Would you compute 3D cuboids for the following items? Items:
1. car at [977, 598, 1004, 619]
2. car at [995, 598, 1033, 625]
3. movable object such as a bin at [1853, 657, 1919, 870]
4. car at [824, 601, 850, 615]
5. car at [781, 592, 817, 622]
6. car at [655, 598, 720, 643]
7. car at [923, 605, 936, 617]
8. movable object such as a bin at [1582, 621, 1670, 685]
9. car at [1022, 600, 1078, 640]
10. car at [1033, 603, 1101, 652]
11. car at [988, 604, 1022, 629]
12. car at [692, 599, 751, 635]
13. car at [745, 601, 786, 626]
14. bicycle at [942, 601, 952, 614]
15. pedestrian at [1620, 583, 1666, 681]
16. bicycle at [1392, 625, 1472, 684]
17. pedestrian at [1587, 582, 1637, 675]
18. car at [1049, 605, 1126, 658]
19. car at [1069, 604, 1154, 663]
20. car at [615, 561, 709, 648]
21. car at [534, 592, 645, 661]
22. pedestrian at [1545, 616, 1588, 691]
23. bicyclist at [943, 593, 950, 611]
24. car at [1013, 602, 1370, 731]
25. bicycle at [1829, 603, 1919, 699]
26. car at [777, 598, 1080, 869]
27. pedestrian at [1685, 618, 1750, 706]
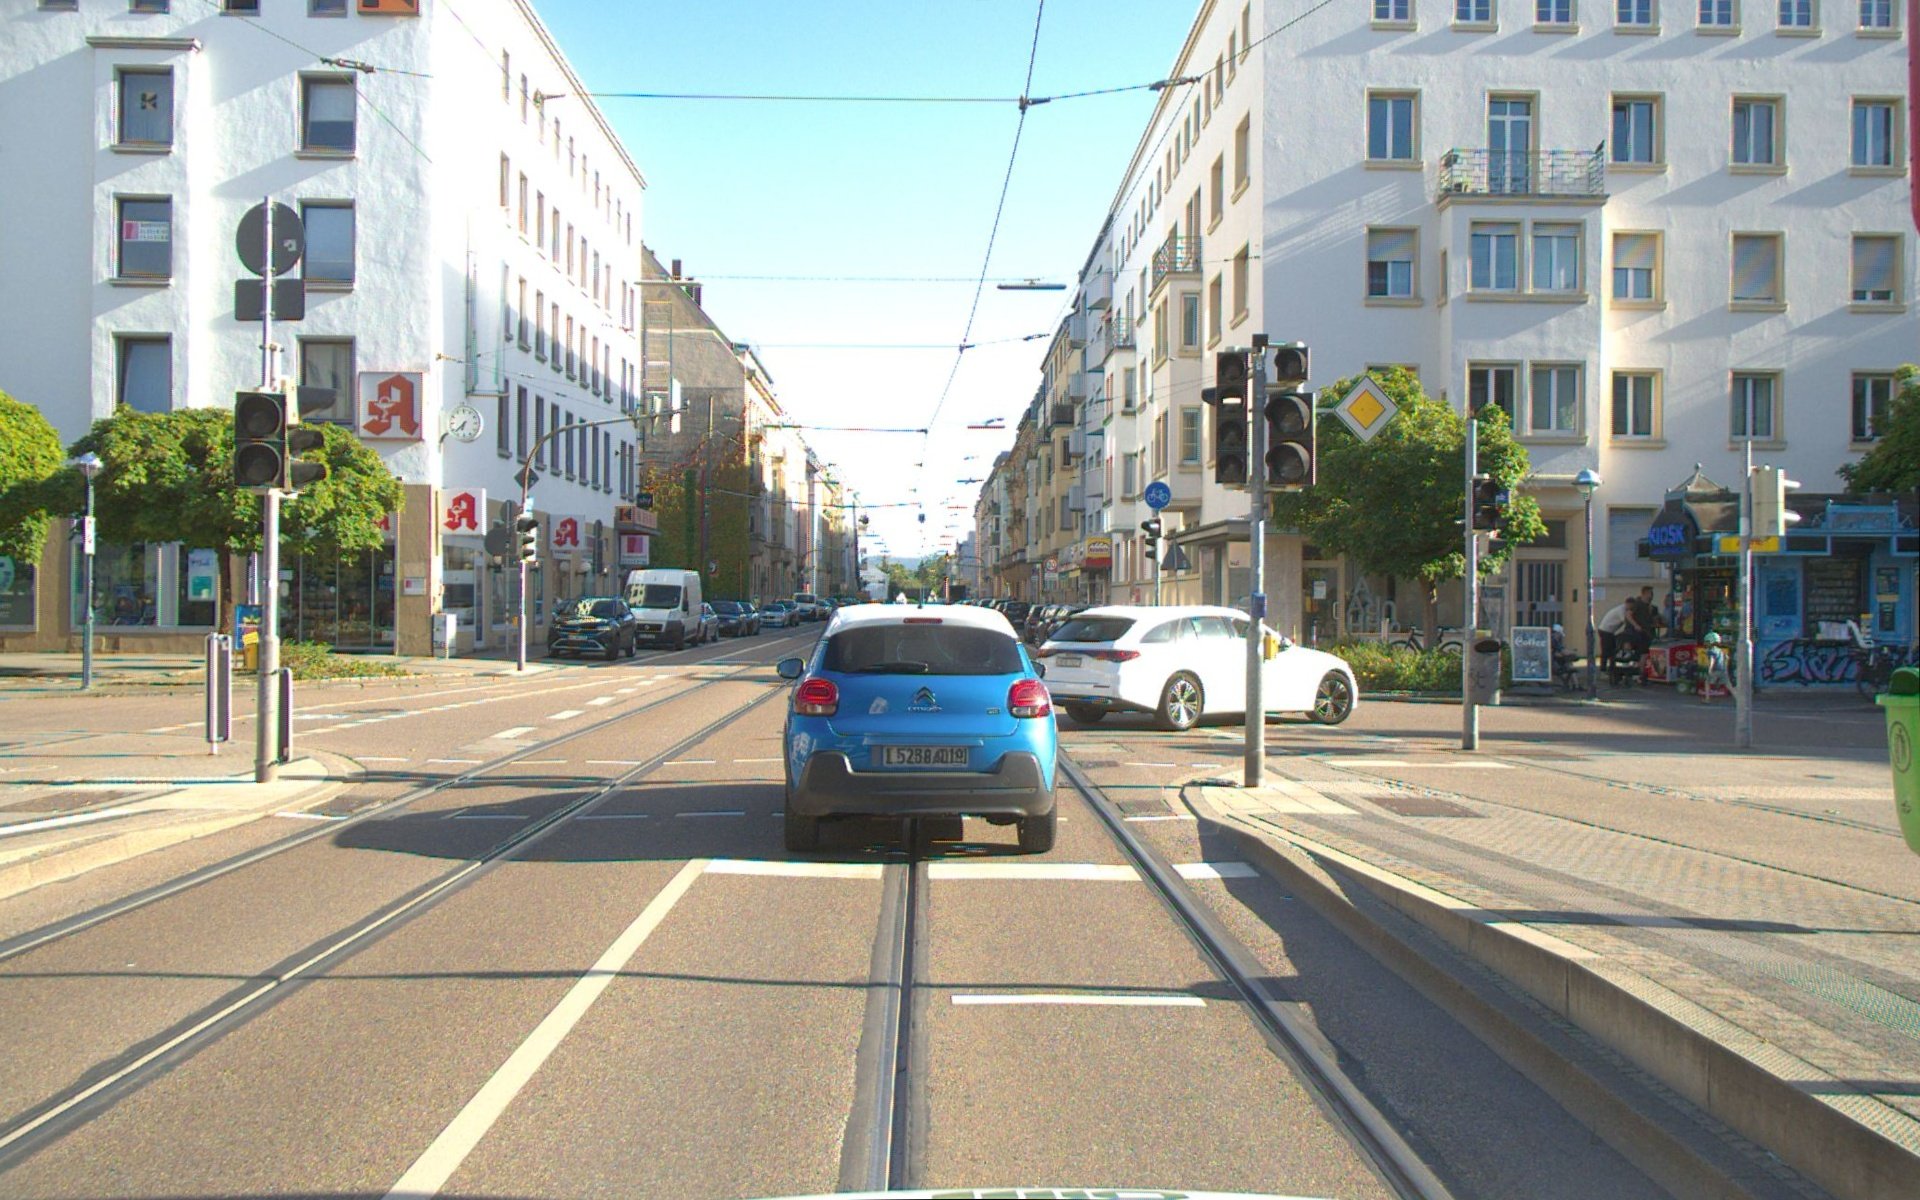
[{"bbox_3d":[2.295,0.642,124.032,1.953,1.490,4.000,0,0,0],"label":"car"},{"bbox_3d":[3.009,0.653,93.092,1.953,1.490,4.504,0,0,0],"label":"car"},{"bbox_3d":[3.889,0.633,6.565,0.439,0.800,0.489,0,0,2],"label":"movable object such as a bin"},{"bbox_3d":[-10.739,0.708,144.909,1.953,1.176,4.000,0,0,0],"label":"car"},{"bbox_3d":[-11.433,0.538,117.485,1.965,2.049,4.689,1,-1,1],"label":"car"},{"bbox_3d":[-9.871,0.743,60.165,1.850,1.522,3.560,1,-1,-2],"label":"car"},{"bbox_3d":[-4.631,1.706,252.008,1.953,1.803,3.999,0,0,-1],"label":"car"},{"bbox_3d":[12.584,0.990,31.292,1.174,1.173,1.217,0,0,0],"label":"movable object such as a bin"},{"bbox_3d":[3.433,0.741,63.708,1.953,1.490,4.000,0,0,0],"label":"car"},{"bbox_3d":[3.423,0.852,53.596,1.953,1.527,4.000,0,0,0],"label":"car"},{"bbox_3d":[2.726,0.998,100.745,1.953,1.490,4.000,0,0,0],"label":"car"},{"bbox_3d":[-9.905,0.703,68.990,1.953,1.422,4.155,1,-1,-2],"label":"car"},{"bbox_3d":[-11.036,0.789,94.127,1.953,1.348,3.921,1,-1,-2],"label":"car"},{"bbox_3d":[-1.552,0.867,192.888,0.902,1.413,3.128,0,0,-5],"label":"bicycle"},{"bbox_3d":[13.196,0.607,31.961,0.639,1.871,0.659,0,0,2],"label":"pedestrian"},{"bbox_3d":[9.587,1.100,33.612,1.534,1.140,0.300,1,-1,10],"label":"bicycle"},{"bbox_3d":[13.276,0.579,33.680,0.768,1.871,0.678,0,0,2],"label":"pedestrian"},{"bbox_3d":[3.710,0.883,48.683,1.953,1.490,4.000,0,0,0],"label":"car"},{"bbox_3d":[3.937,0.851,43.474,1.870,1.490,4.000,0,0,0],"label":"car"},{"bbox_3d":[-9.564,0.150,53.501,2.043,2.586,6.203,1,0,-2],"label":"car"},{"bbox_3d":[-9.592,0.679,43.137,1.953,1.596,4.401,3,-1,-2],"label":"car"},{"bbox_3d":[11.058,0.958,30.154,0.725,1.339,0.628,0,0,22],"label":"pedestrian"},{"bbox_3d":[-1.533,0.280,192.933,0.793,2.049,0.922,1,-1,0],"label":"bicyclist"},{"bbox_3d":[3.084,0.820,21.396,4.771,1.490,1.962,1,-1,-41],"label":"car"},{"bbox_3d":[16.050,0.879,27.951,2.336,1.558,0.726,2,0,-2],"label":"bicycle"},{"bbox_3d":[-0.207,0.765,11.321,1.693,1.508,3.826,1,0,-1],"label":"car"},{"bbox_3d":[12.922,1.053,28.229,0.715,1.434,0.755,0,3,-1],"label":"pedestrian"}]
